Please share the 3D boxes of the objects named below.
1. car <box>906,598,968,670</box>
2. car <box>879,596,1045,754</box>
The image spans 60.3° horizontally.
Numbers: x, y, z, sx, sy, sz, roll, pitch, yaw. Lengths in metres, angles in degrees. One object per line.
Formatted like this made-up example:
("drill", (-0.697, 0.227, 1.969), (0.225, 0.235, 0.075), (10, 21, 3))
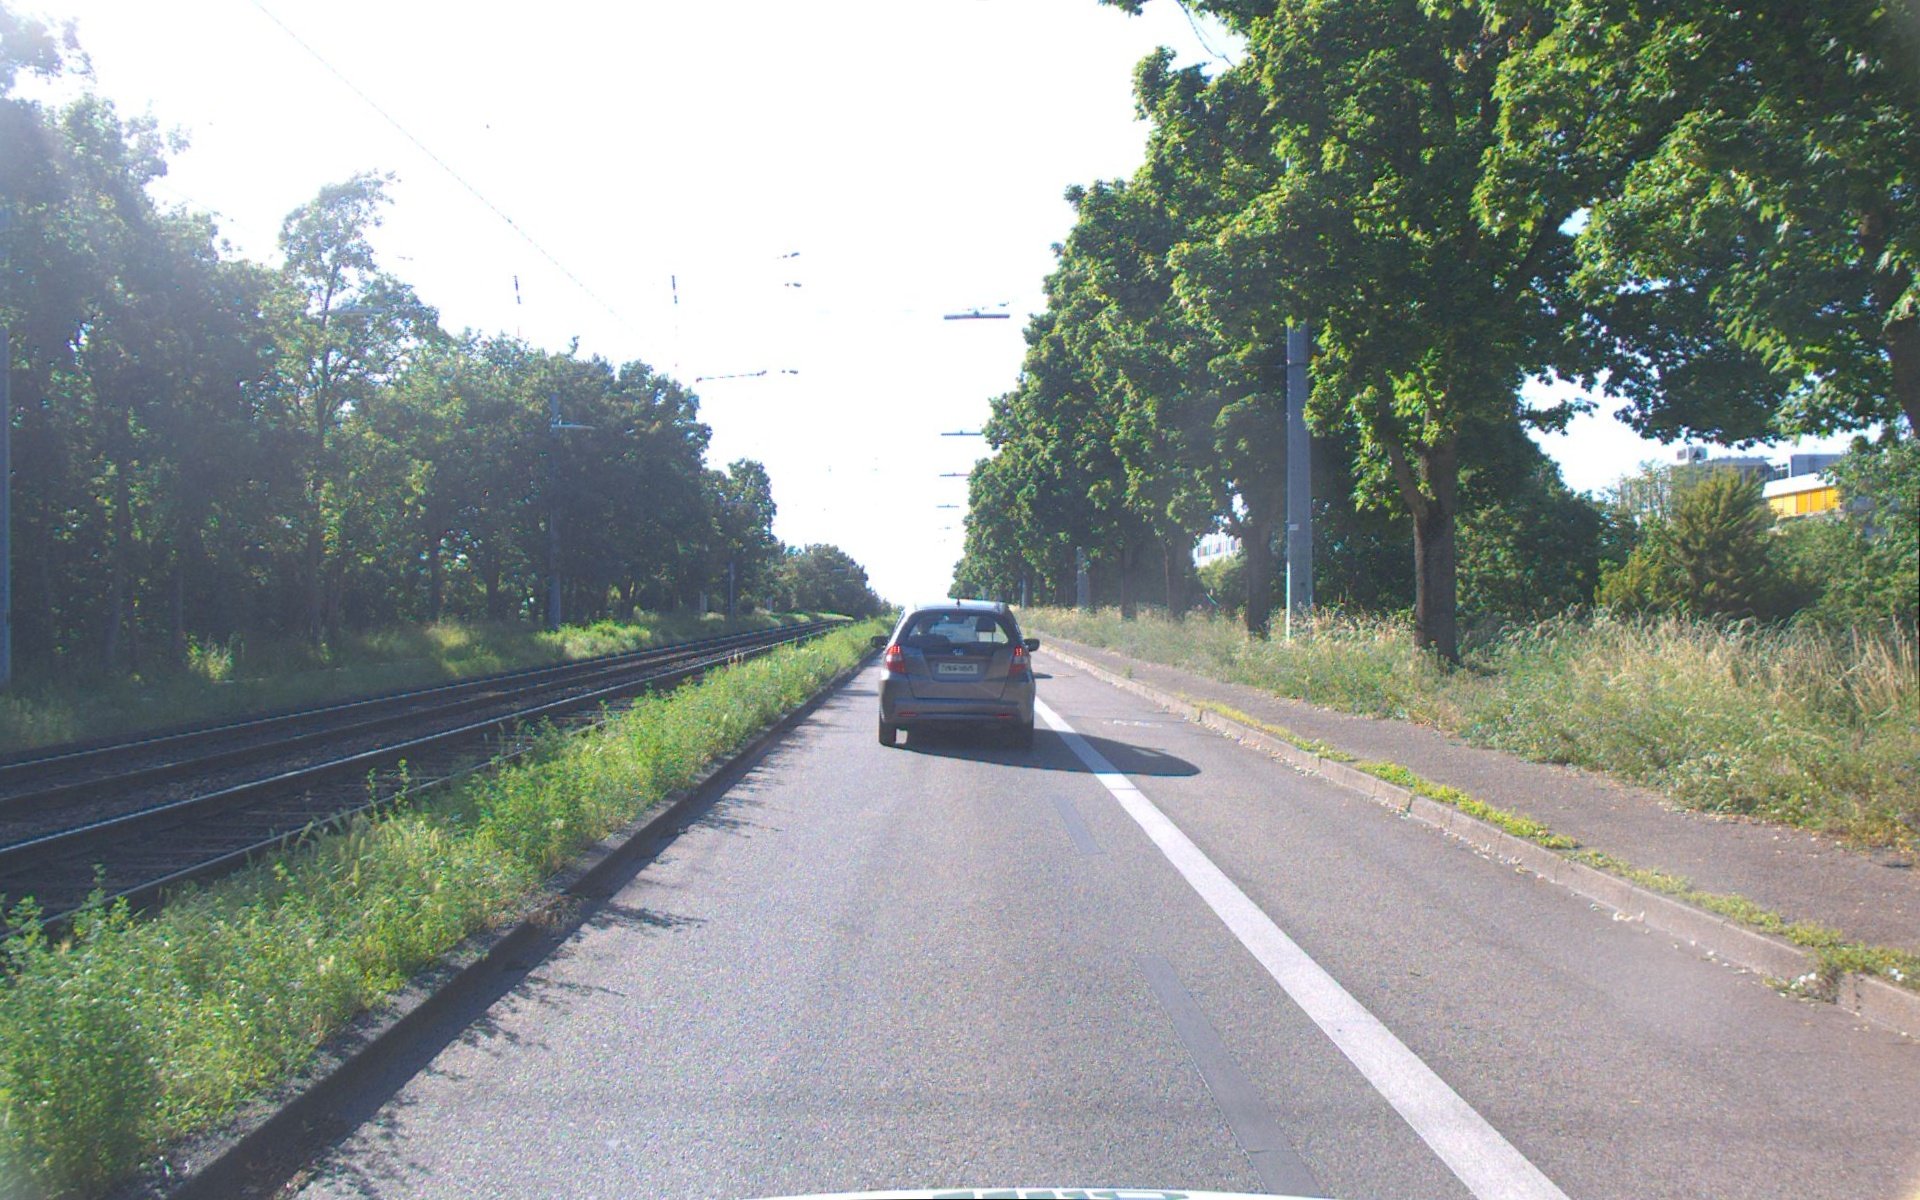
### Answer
("car", (-0.550, 0.782, 37.791), (1.324, 1.554, 3.121), (-1, -1, -2))
("car", (-0.035, 0.753, 18.499), (1.637, 1.542, 3.672), (1, 0, -2))
